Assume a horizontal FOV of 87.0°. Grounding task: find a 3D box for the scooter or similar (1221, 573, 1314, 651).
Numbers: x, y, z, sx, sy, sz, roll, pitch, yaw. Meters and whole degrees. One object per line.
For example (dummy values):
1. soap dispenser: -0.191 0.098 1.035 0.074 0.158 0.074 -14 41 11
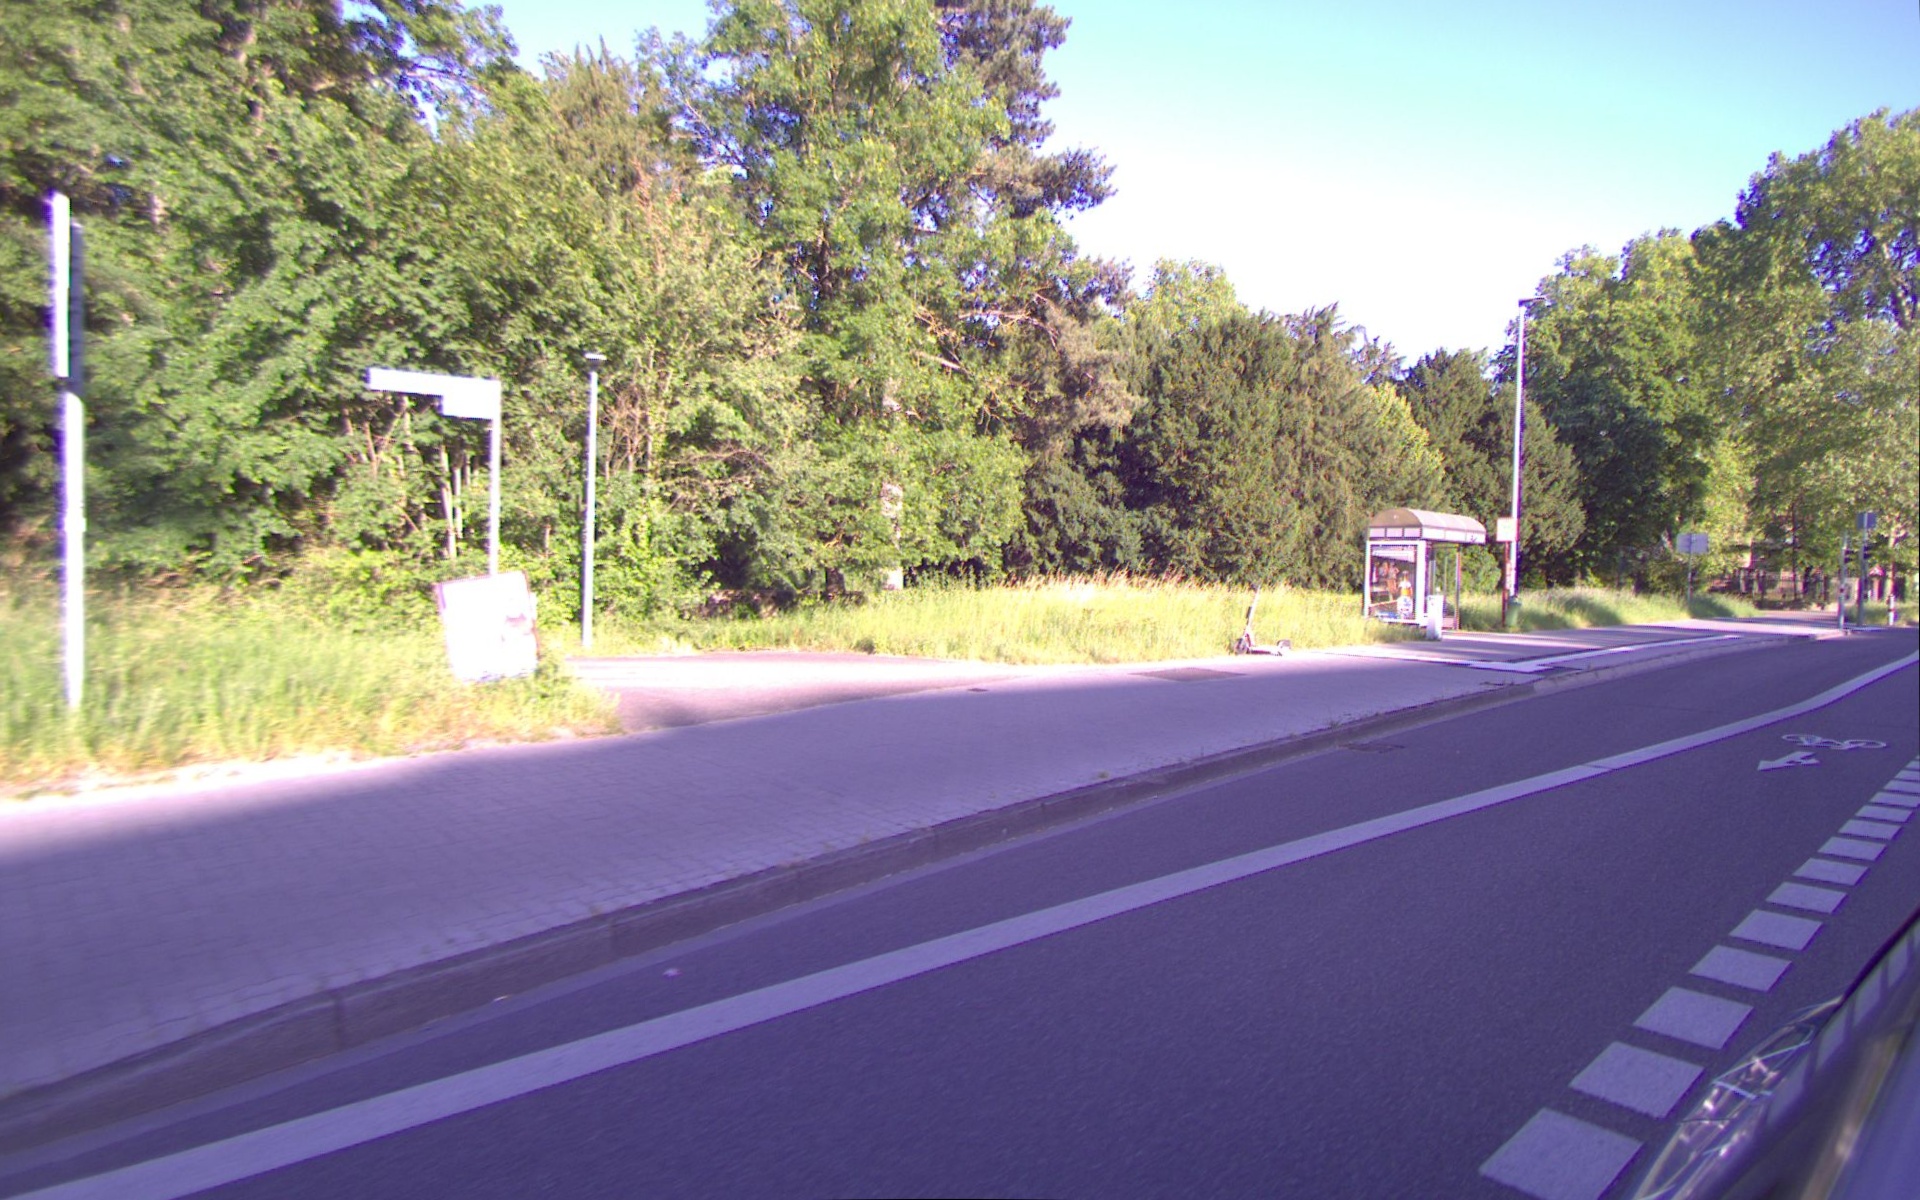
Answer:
1. scooter or similar: 5.197 0.193 17.119 1.300 1.263 0.726 1 2 -20
